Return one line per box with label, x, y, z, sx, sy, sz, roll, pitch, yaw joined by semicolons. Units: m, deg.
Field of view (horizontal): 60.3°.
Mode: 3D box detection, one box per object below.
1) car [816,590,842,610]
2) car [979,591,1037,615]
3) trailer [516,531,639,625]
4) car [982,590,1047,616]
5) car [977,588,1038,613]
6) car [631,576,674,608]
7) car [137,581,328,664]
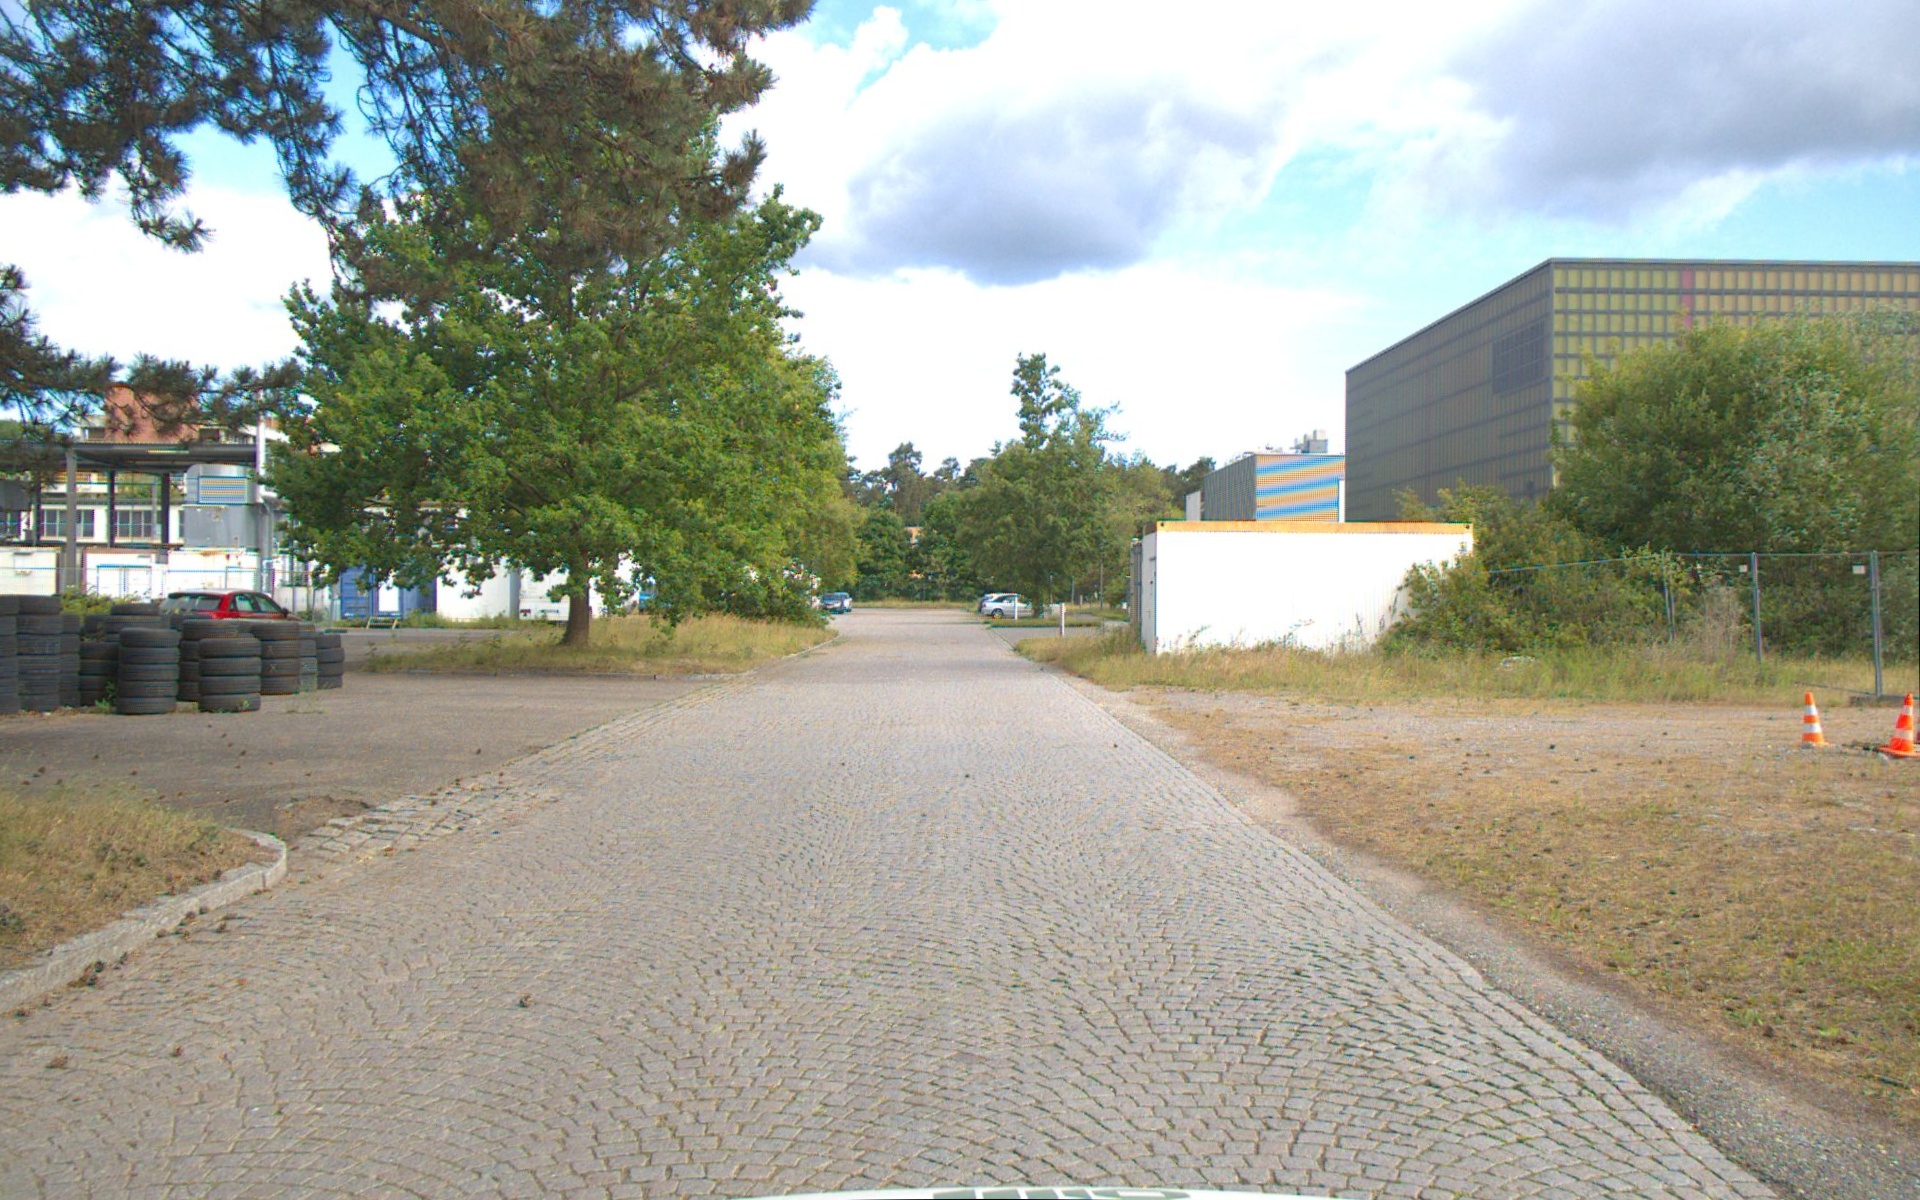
car;-9.596;-0.010;121.525;1.614;1.393;3.997;1;0;-1
car;2.883;0.169;100.200;3.451;1.386;1.622;-1;0;-1
trailer;-15.930;-0.887;69.652;2.571;3.661;10.179;1;0;1
car;3.375;0.190;102.903;3.903;1.473;1.653;-2;0;-1
car;3.059;0.040;108.029;3.903;1.501;1.653;-2;0;-1
car;-20.298;-0.518;109.294;1.953;2.049;4.767;1;0;0
car;-13.782;0.378;31.592;1.591;1.458;4.066;0;1;4
